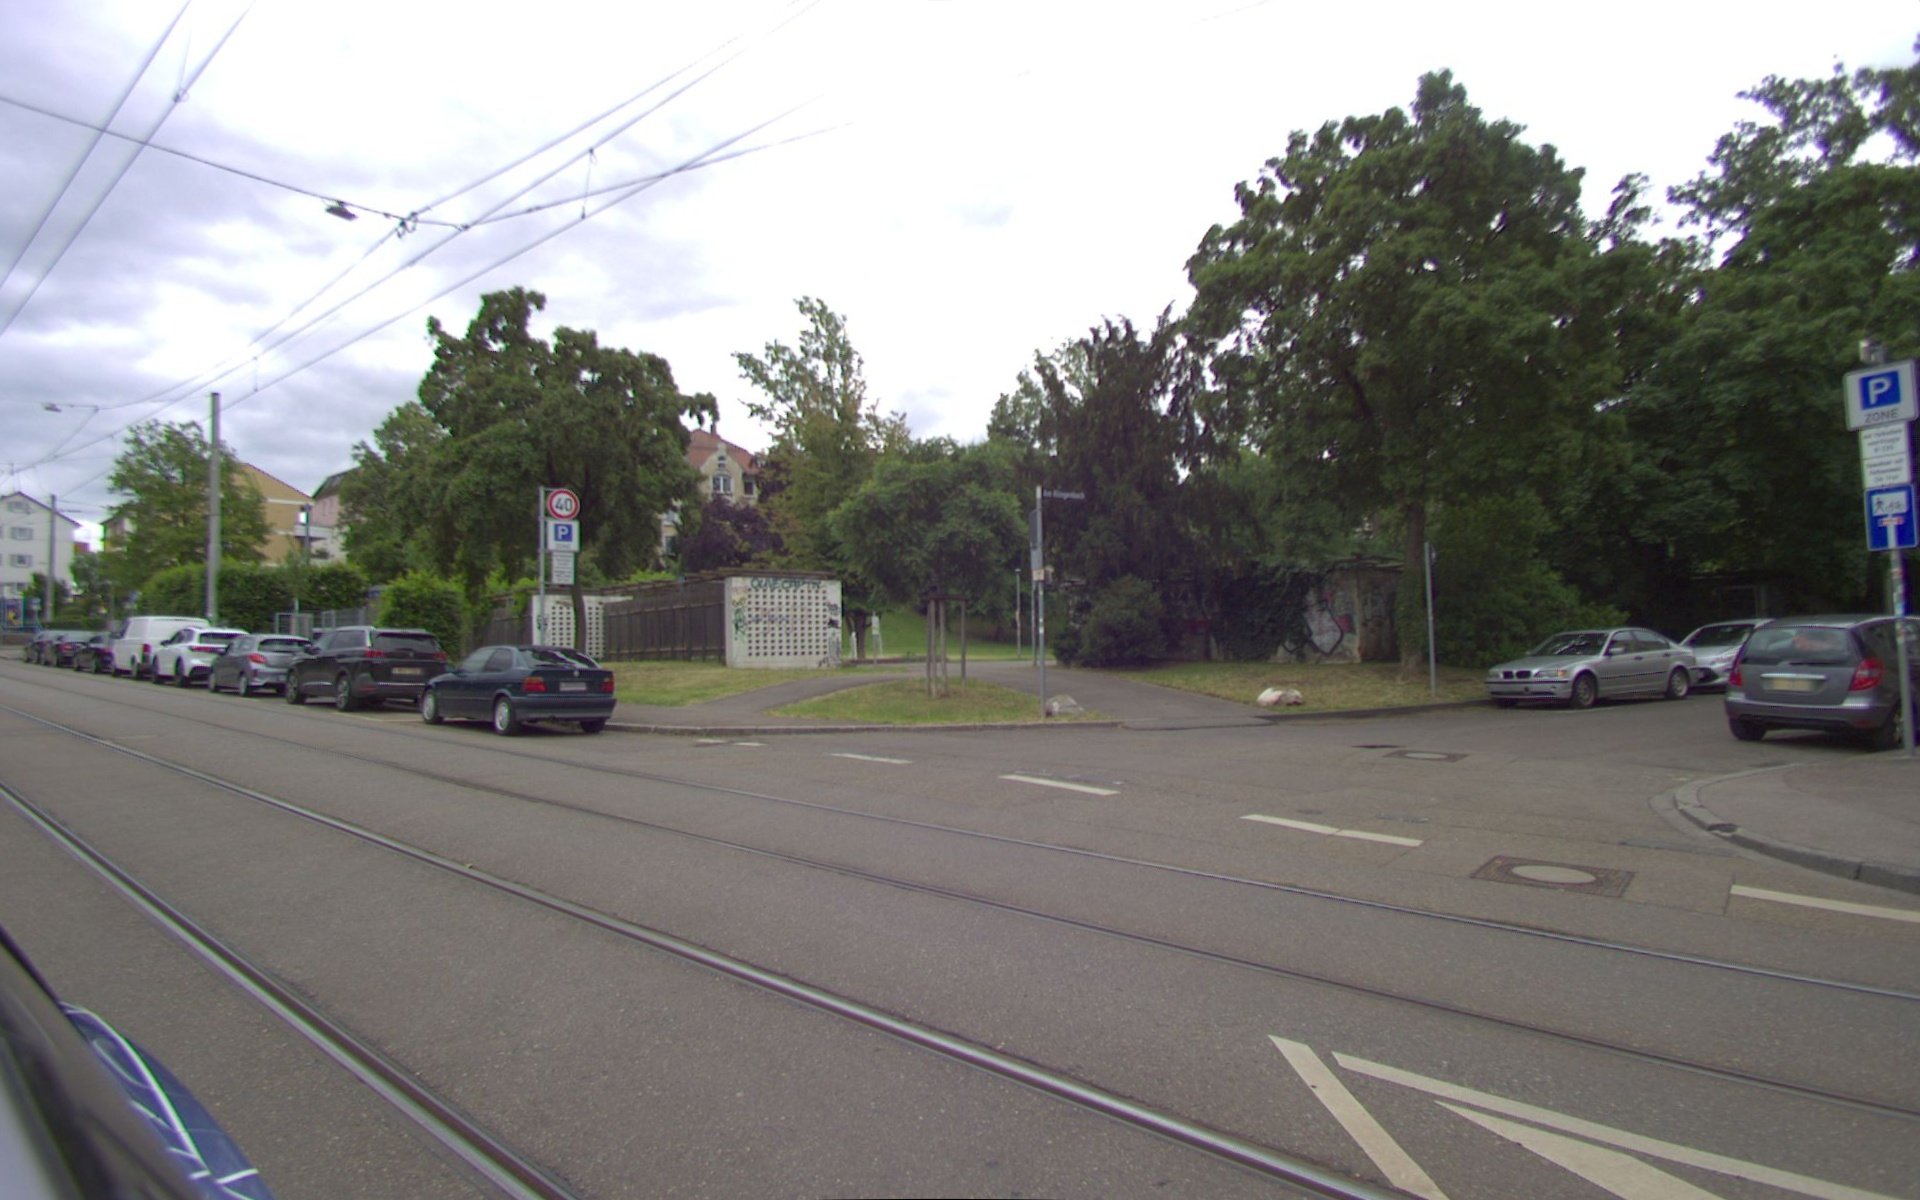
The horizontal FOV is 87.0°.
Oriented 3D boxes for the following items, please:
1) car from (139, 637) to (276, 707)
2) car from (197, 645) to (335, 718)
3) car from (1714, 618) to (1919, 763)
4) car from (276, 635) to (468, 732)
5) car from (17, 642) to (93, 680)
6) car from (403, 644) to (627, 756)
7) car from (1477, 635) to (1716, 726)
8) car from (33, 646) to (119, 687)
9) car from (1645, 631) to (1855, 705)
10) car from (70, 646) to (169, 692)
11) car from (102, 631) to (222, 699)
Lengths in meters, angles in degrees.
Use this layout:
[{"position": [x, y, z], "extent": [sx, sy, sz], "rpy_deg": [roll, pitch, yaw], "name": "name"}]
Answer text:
[{"position": [-20.997, 1.948, 28.177], "extent": [4.629, 1.699, 1.949], "rpy_deg": [0, -3, 39], "name": "car"}, {"position": [-17.015, 1.937, 24.750], "extent": [3.865, 1.520, 1.721], "rpy_deg": [0, -3, 39], "name": "car"}, {"position": [11.706, 1.059, 12.670], "extent": [3.930, 1.584, 1.882], "rpy_deg": [1, -2, -23], "name": "car"}, {"position": [-12.187, 1.638, 20.867], "extent": [4.440, 1.699, 1.949], "rpy_deg": [0, -3, 39], "name": "car"}, {"position": [-38.923, 2.602, 43.482], "extent": [4.157, 1.415, 1.772], "rpy_deg": [0, -3, 39], "name": "car"}, {"position": [-7.332, 1.529, 16.500], "extent": [4.152, 1.489, 1.604], "rpy_deg": [0, -3, 39], "name": "car"}, {"position": [11.782, 1.435, 18.753], "extent": [3.930, 1.451, 1.766], "rpy_deg": [-1, -3, -23], "name": "car"}, {"position": [-34.850, 2.571, 39.855], "extent": [4.436, 1.397, 1.821], "rpy_deg": [0, -3, 39], "name": "car"}, {"position": [16.586, 1.393, 21.255], "extent": [3.930, 1.430, 1.766], "rpy_deg": [1, -2, -23], "name": "car"}, {"position": [-29.720, 2.392, 35.737], "extent": [4.514, 1.397, 1.821], "rpy_deg": [0, -3, 39], "name": "car"}, {"position": [-25.383, 2.012, 32.129], "extent": [4.730, 1.927, 1.949], "rpy_deg": [0, -3, 39], "name": "car"}]
